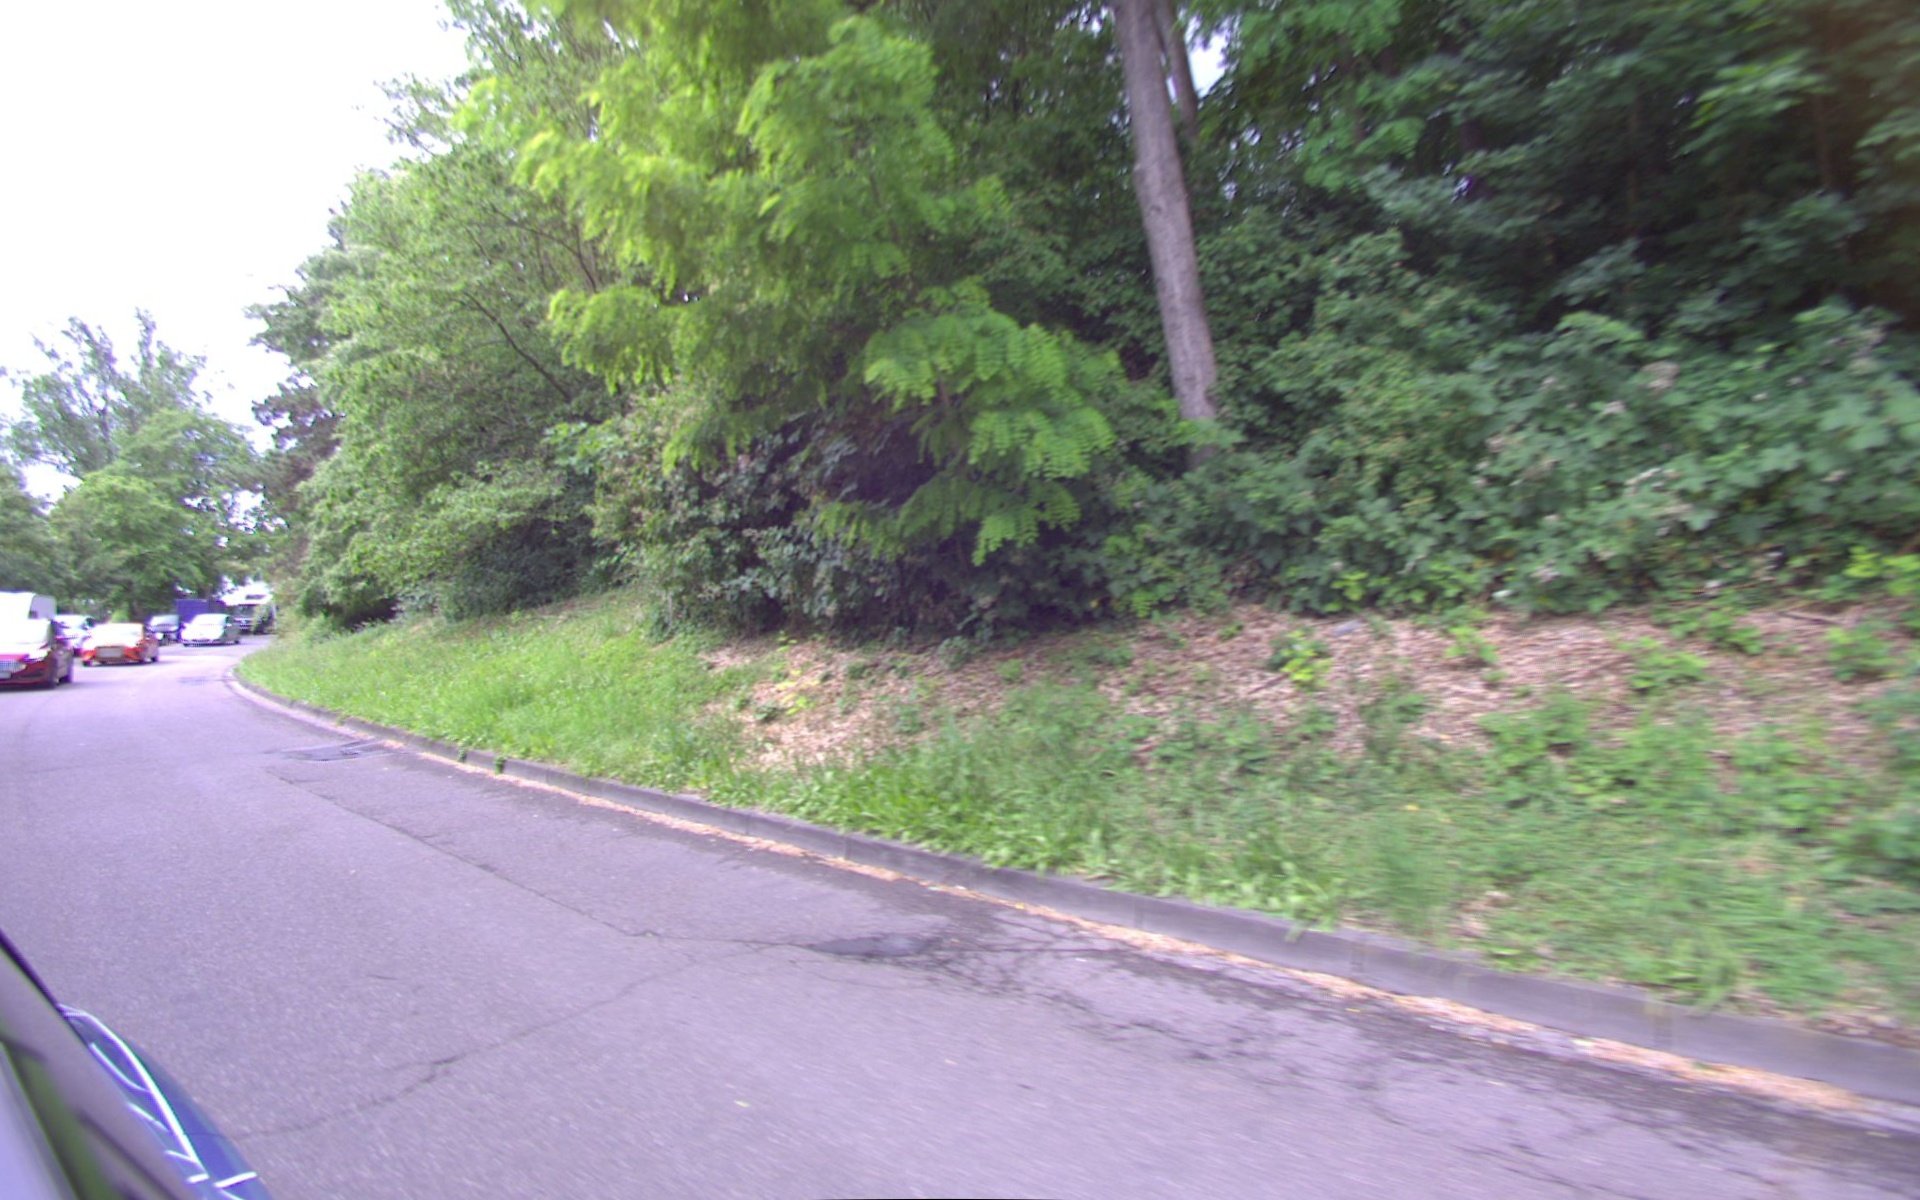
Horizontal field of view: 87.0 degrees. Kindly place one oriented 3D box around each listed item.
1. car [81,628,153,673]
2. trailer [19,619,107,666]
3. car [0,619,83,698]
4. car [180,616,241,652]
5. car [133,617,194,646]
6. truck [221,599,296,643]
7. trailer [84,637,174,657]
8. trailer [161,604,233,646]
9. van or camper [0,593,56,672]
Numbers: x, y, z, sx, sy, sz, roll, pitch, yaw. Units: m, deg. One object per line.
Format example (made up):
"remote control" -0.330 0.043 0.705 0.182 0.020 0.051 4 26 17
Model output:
"car" -29.708 1.744 35.748 1.838 1.460 4.183 1 -2 -39
"trailer" -37.775 1.749 42.739 1.747 1.744 4.665 1 0 -29
"car" -22.317 1.325 23.831 1.967 1.640 4.638 -2 0 -34
"car" -38.762 1.720 52.434 1.891 1.694 4.013 1 0 -27
"car" -43.955 1.740 55.895 1.705 1.534 3.416 -1 -1 -21
"truck" -48.983 1.403 70.901 2.272 2.955 7.054 0 0 -17
"trailer" -41.272 2.299 50.462 2.074 0.656 6.422 -2 0 -26
"trailer" -45.488 1.553 60.457 2.077 2.380 4.715 1 -3 -19
"van or camper" -33.232 1.088 34.726 2.131 2.555 6.049 -2 0 -31
